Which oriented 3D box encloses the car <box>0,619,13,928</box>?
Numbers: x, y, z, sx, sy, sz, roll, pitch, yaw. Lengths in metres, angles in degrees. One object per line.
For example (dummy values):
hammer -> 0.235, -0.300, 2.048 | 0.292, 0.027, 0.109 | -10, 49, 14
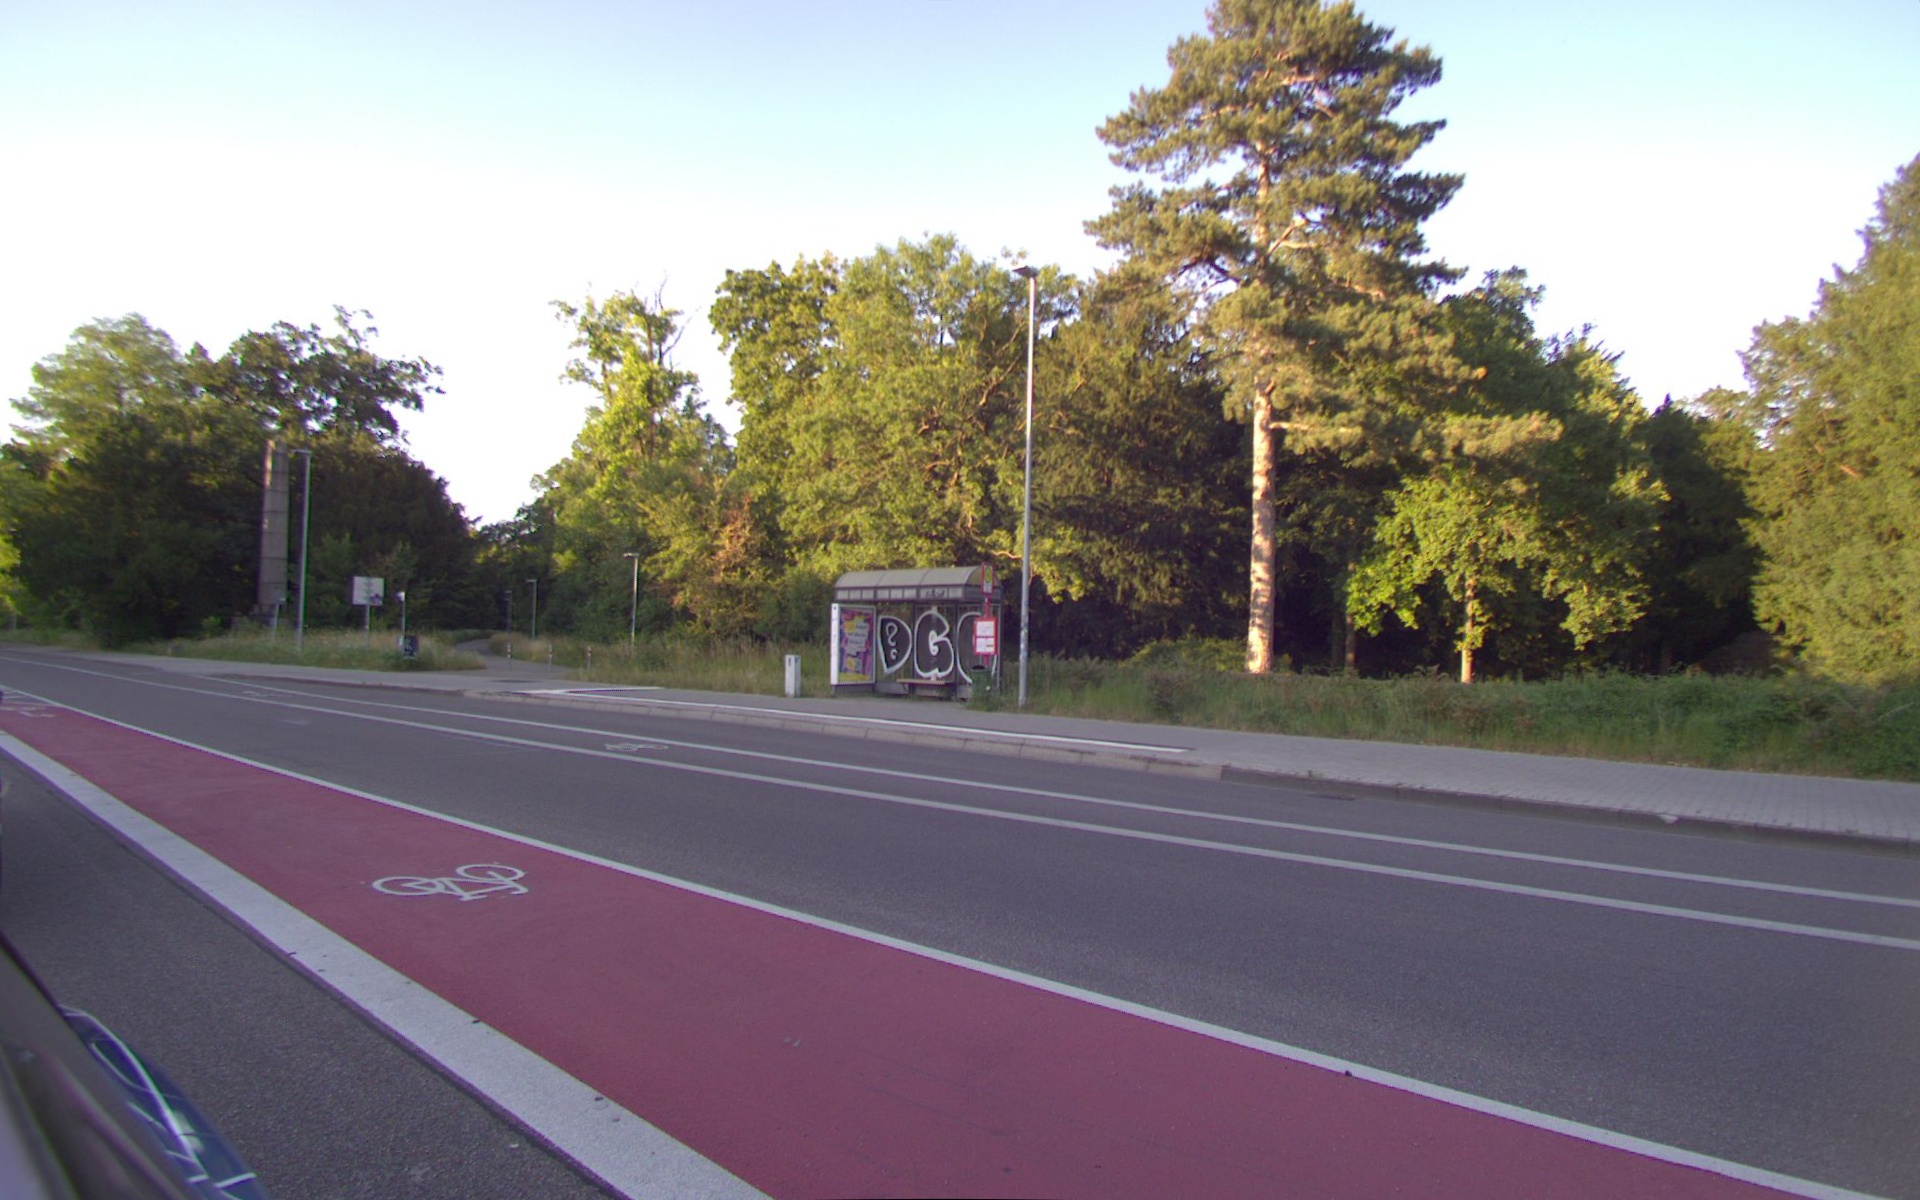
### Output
car -> -6.951, 0.844, 5.589 | 5.207, 1.410, 1.796 | -1, 0, 39
